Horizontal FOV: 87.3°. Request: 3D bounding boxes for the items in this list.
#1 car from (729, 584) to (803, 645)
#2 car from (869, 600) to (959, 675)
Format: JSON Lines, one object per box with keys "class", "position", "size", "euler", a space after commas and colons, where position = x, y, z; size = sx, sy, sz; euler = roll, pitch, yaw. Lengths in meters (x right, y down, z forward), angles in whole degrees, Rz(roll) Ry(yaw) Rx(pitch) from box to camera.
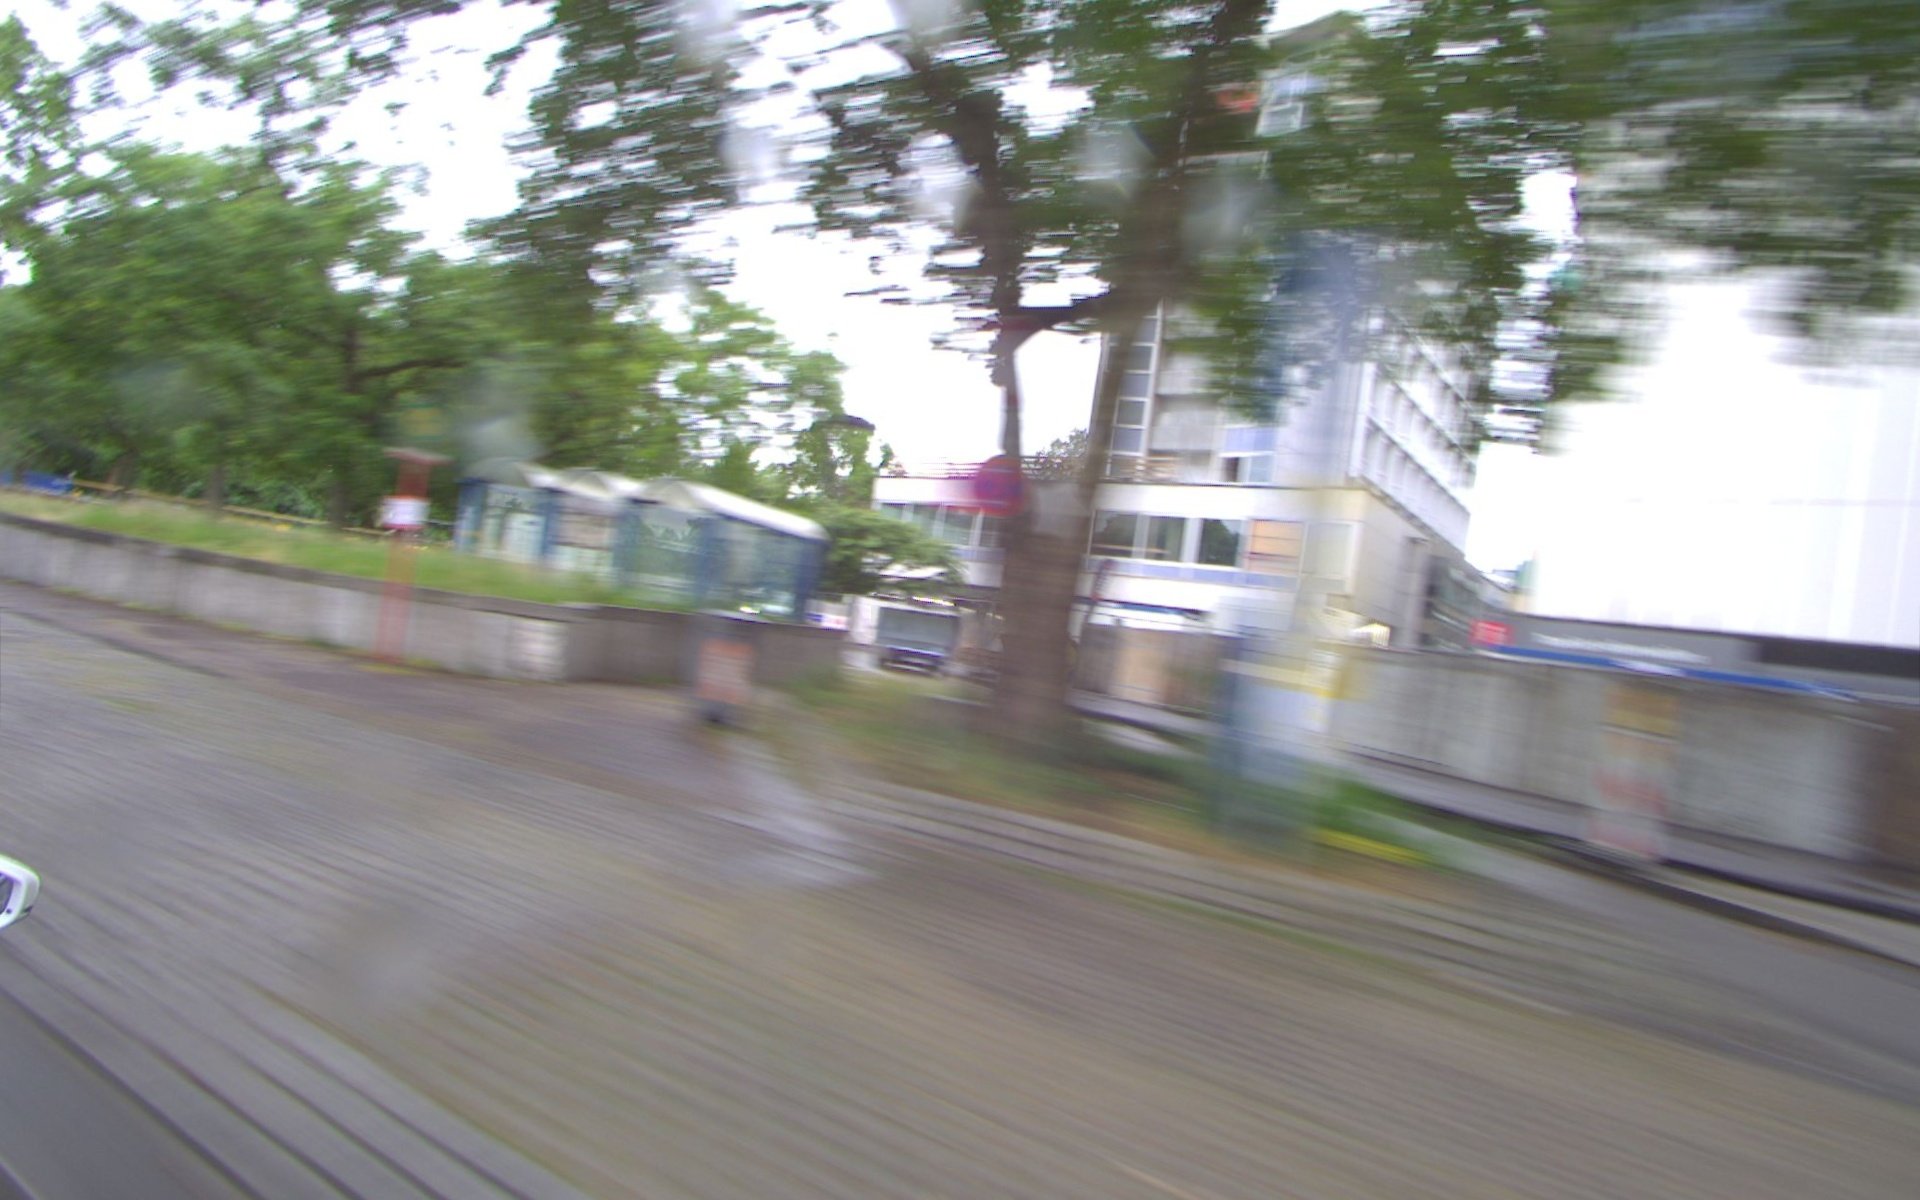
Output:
{"class": "car", "position": [-6.385, 0.485, 33.599], "size": [1.966, 1.648, 4.756], "euler": [8, -2, -7]}
{"class": "car", "position": [-1.266, 0.943, 26.307], "size": [1.765, 1.609, 3.336], "euler": [8, -2, -10]}
